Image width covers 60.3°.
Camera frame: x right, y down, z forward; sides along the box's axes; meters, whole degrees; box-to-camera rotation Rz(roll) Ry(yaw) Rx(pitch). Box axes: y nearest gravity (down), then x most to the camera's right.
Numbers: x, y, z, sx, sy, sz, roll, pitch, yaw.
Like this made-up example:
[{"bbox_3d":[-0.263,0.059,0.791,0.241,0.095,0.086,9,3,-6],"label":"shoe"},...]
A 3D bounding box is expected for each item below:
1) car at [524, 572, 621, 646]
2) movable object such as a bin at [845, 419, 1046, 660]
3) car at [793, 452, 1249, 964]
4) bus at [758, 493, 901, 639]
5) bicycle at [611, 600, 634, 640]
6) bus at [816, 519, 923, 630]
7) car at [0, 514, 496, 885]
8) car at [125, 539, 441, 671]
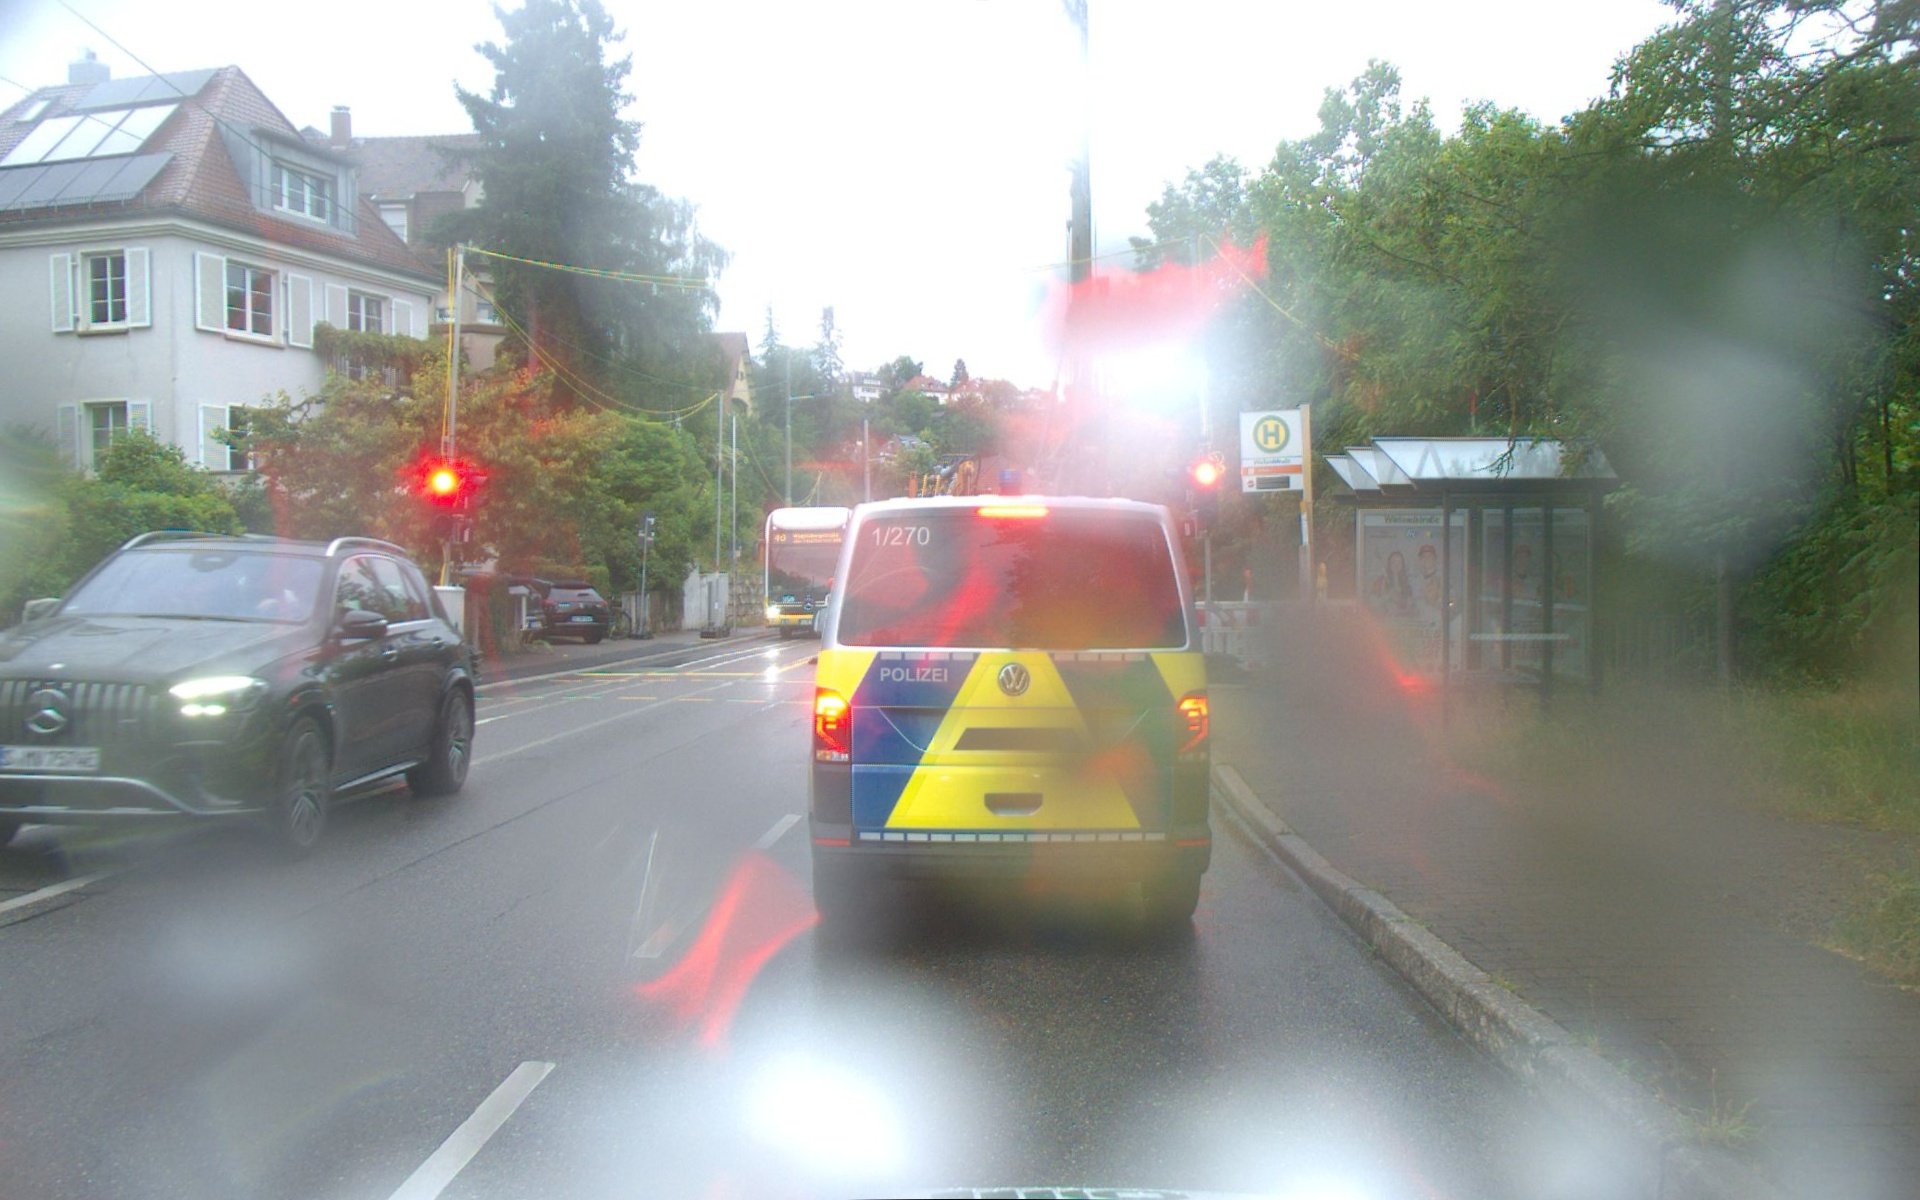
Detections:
[{"bbox_3d":[-8.912,0.176,37.839,1.739,1.512,3.721,1,2,-20],"label":"car"},{"bbox_3d":[-0.167,-1.095,31.649,2.770,4.250,4.384,1,0,14],"label":"movable object such as a bin"},{"bbox_3d":[0.226,0.437,8.831,1.855,2.086,3.999,1,0,-1],"label":"car"},{"bbox_3d":[-3.657,-0.932,49.495,2.782,3.783,12.009,1,0,2],"label":"bus"},{"bbox_3d":[-8.054,0.466,39.465,0.455,0.913,1.628,0,0,-15],"label":"bicycle"},{"bbox_3d":[-3.173,-0.898,61.453,2.782,3.688,12.009,1,0,2],"label":"bus"},{"bbox_3d":[-4.466,0.449,10.266,1.939,1.778,4.552,1,1,-1],"label":"car"},{"bbox_3d":[-11.210,0.057,27.501,4.532,2.042,1.902,1,0,11],"label":"car"}]
